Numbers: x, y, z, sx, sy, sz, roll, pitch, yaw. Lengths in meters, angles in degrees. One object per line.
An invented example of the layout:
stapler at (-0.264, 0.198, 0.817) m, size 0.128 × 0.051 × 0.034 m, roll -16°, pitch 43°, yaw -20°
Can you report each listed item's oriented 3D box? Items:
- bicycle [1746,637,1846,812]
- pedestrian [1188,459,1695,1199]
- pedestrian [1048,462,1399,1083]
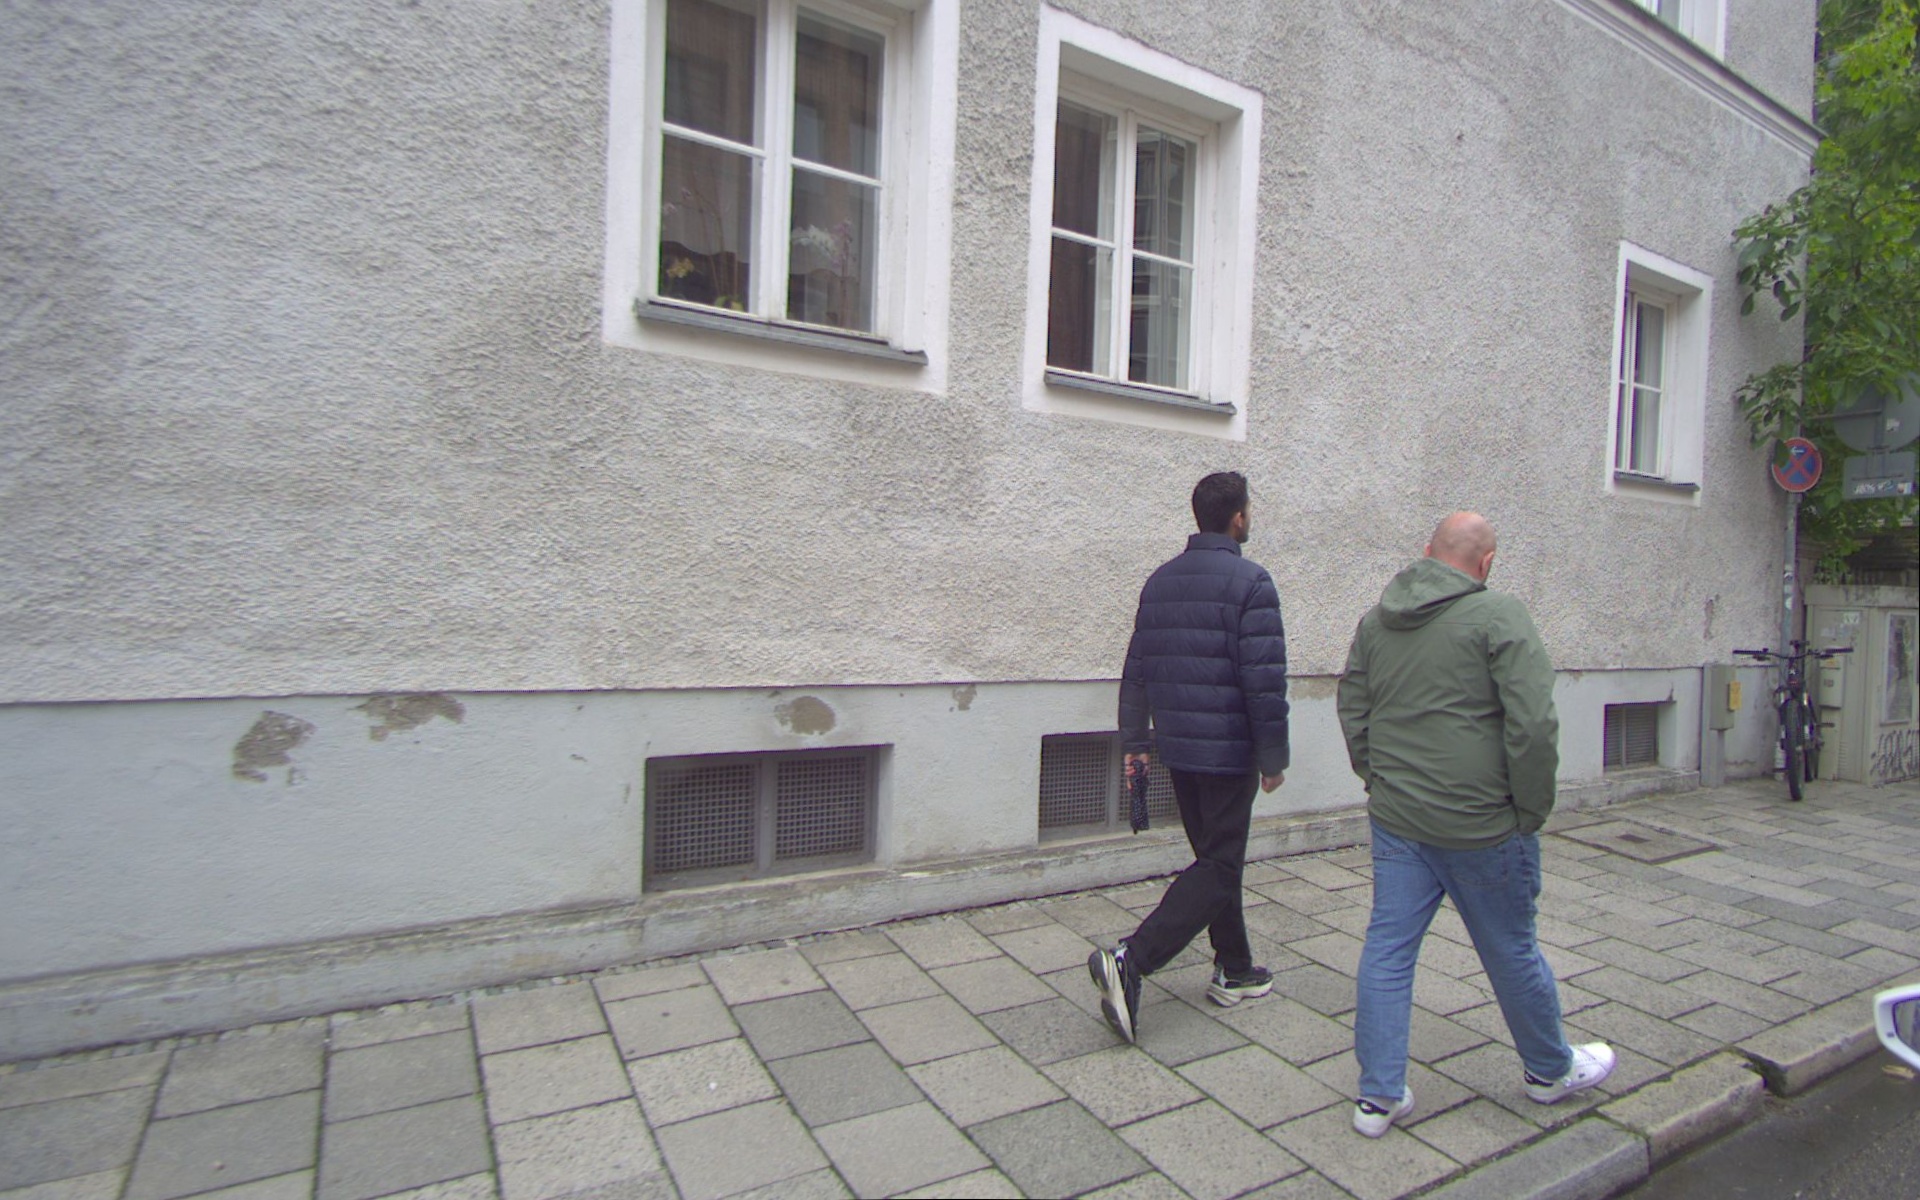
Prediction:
bicycle at (6.299, 0.866, 7.539) m, size 0.467 × 1.126 × 1.750 m, roll 3°, pitch 1°, yaw 42°
pedestrian at (1.253, 0.538, 2.679) m, size 0.896 × 1.681 × 0.749 m, roll 2°, pitch 3°, yaw -30°
pedestrian at (0.840, 0.484, 3.258) m, size 0.814 × 1.736 × 0.609 m, roll 2°, pitch 3°, yaw -31°
